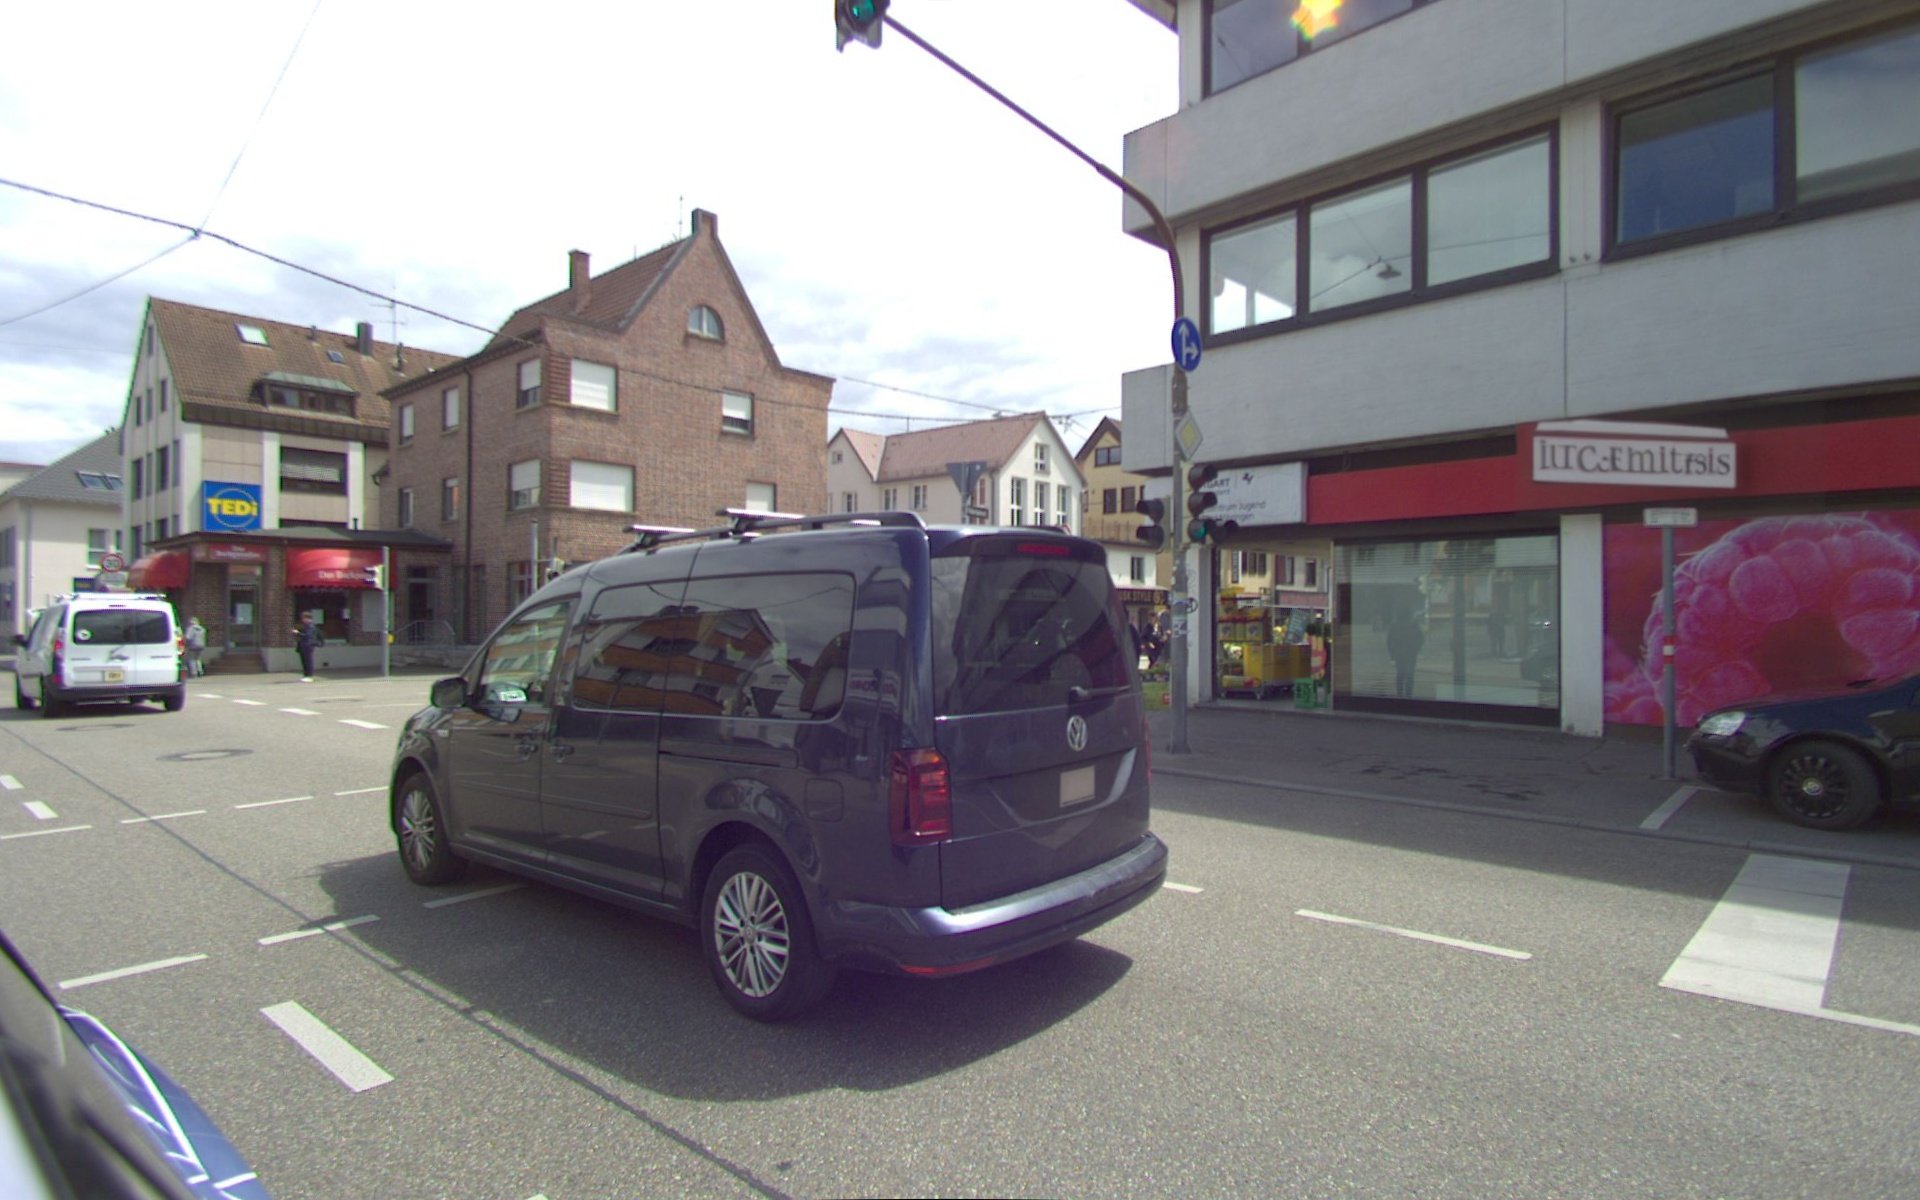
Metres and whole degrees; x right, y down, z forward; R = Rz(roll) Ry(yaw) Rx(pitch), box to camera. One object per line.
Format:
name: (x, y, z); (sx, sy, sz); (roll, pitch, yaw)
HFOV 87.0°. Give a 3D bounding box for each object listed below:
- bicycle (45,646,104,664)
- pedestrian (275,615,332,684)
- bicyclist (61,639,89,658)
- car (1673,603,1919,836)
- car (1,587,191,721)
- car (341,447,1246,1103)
bicycle: (-38.364, 2.389, 43.875); (0.655, 0.734, 2.288); (0, -2, -3)
pedestrian: (-16.665, 1.248, 25.725); (0.839, 1.736, 0.907); (0, -2, -1)
bicyclist: (-38.378, 2.082, 43.885); (0.488, 0.814, 0.892); (0, -2, -5)
car: (7.457, 0.751, 6.656); (4.285, 1.486, 2.022); (-2, -1, 43)
car: (-14.363, 0.852, 16.754); (4.110, 1.945, 1.795); (-2, -3, 41)
car: (-1.226, 0.568, 5.251); (4.873, 1.891, 1.929); (-1, -2, 40)
